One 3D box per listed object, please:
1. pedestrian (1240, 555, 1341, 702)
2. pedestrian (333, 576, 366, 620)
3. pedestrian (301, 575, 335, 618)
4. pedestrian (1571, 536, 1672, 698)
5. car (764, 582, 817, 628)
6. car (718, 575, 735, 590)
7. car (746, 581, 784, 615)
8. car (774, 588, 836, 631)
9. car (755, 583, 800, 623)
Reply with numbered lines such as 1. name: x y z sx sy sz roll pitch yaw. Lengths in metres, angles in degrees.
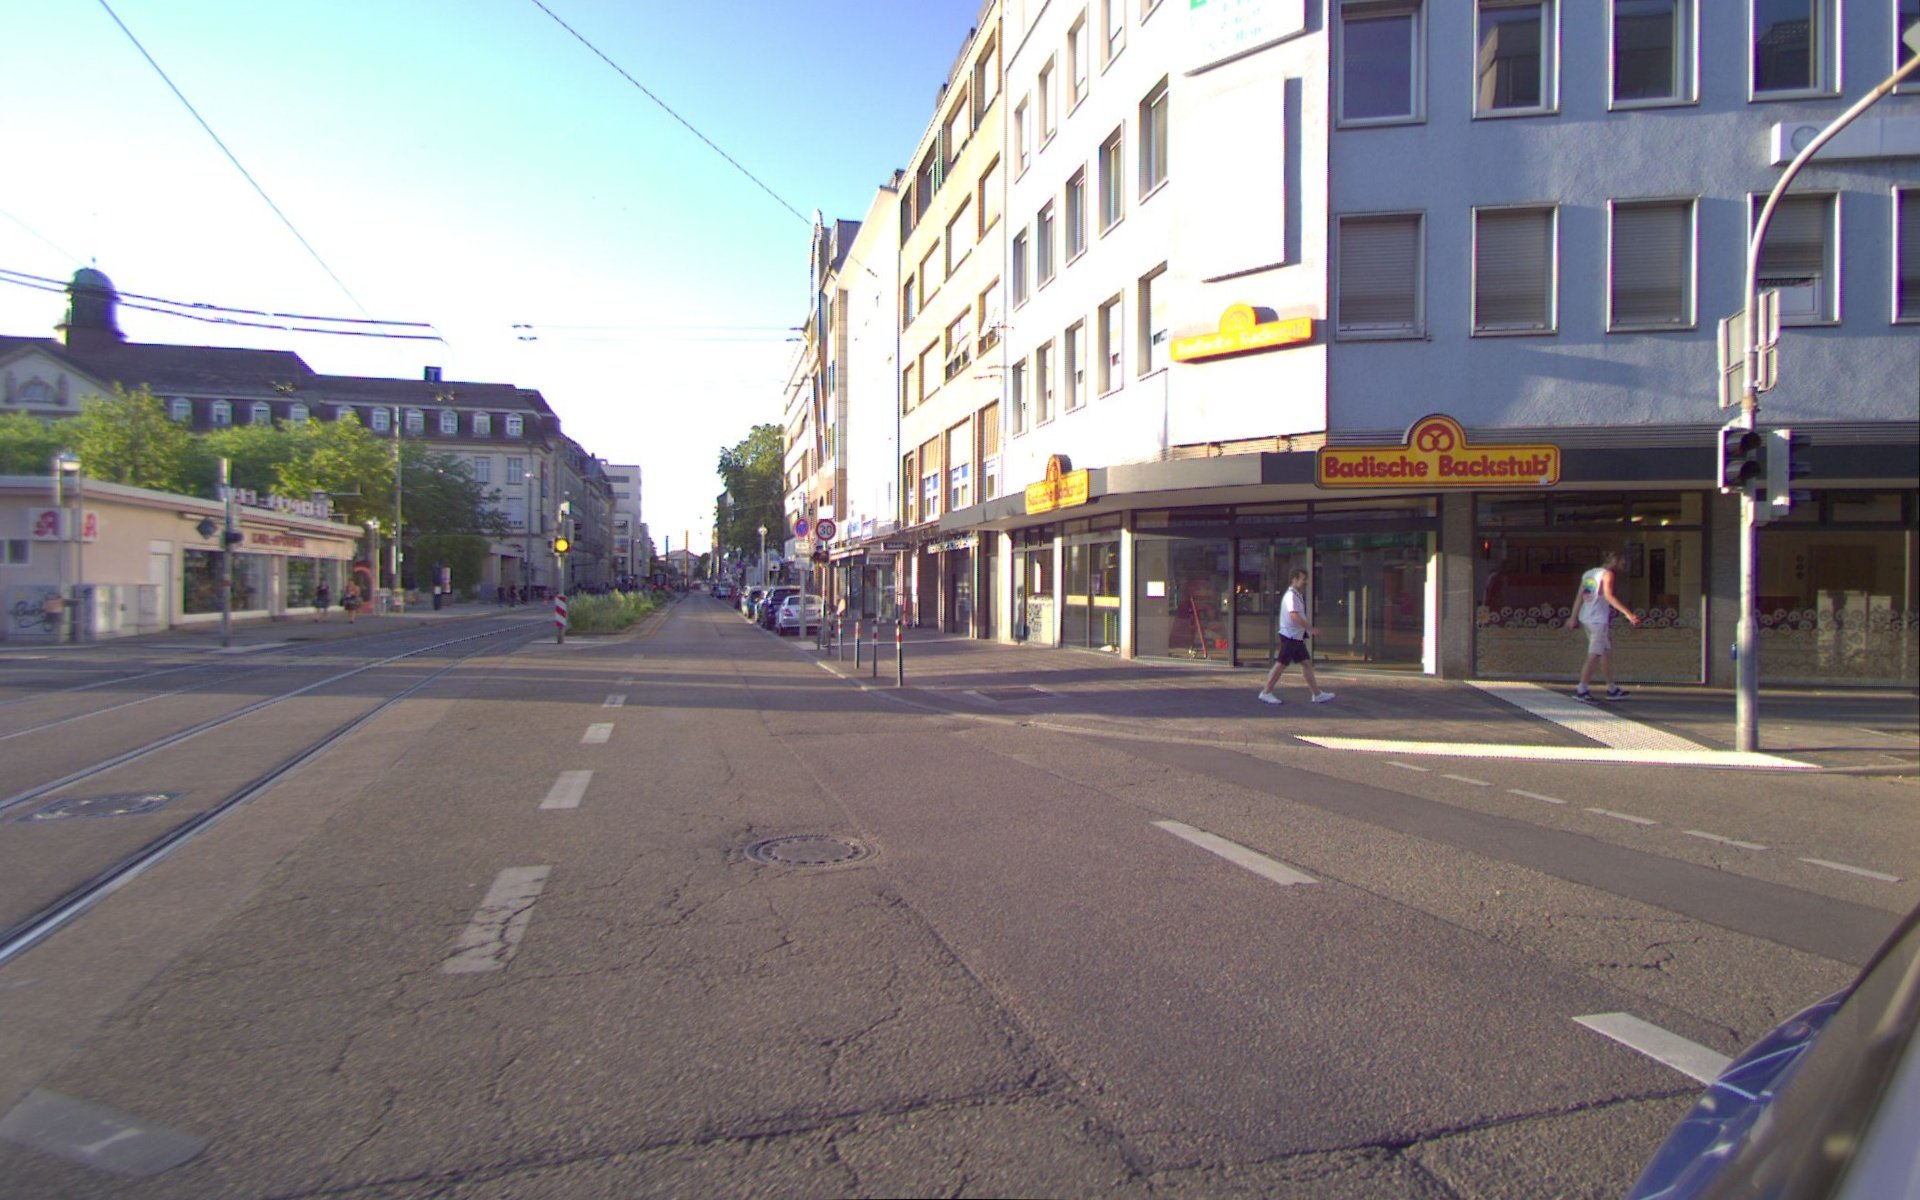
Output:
1. pedestrian: 4.167 0.326 12.758 0.988 1.747 0.796 0 2 37
2. pedestrian: -23.591 -0.087 39.116 0.789 1.632 0.996 -2 2 -15
3. pedestrian: -24.693 -0.143 38.952 0.789 1.632 0.996 -2 2 -15
4. pedestrian: 8.182 0.184 12.515 0.988 1.910 0.796 0 2 37
5. car: -6.532 0.150 38.709 1.810 1.655 4.008 -1 1 -12
6. car: -26.594 -1.949 115.251 1.810 1.655 4.008 -1 1 -12
7. car: -10.148 -0.149 52.419 1.810 1.655 4.008 -1 1 -12
8. car: -5.316 0.284 34.304 1.810 1.310 4.008 -1 1 -12
9. car: -8.130 0.079 44.778 1.810 1.655 4.008 -1 1 -12
